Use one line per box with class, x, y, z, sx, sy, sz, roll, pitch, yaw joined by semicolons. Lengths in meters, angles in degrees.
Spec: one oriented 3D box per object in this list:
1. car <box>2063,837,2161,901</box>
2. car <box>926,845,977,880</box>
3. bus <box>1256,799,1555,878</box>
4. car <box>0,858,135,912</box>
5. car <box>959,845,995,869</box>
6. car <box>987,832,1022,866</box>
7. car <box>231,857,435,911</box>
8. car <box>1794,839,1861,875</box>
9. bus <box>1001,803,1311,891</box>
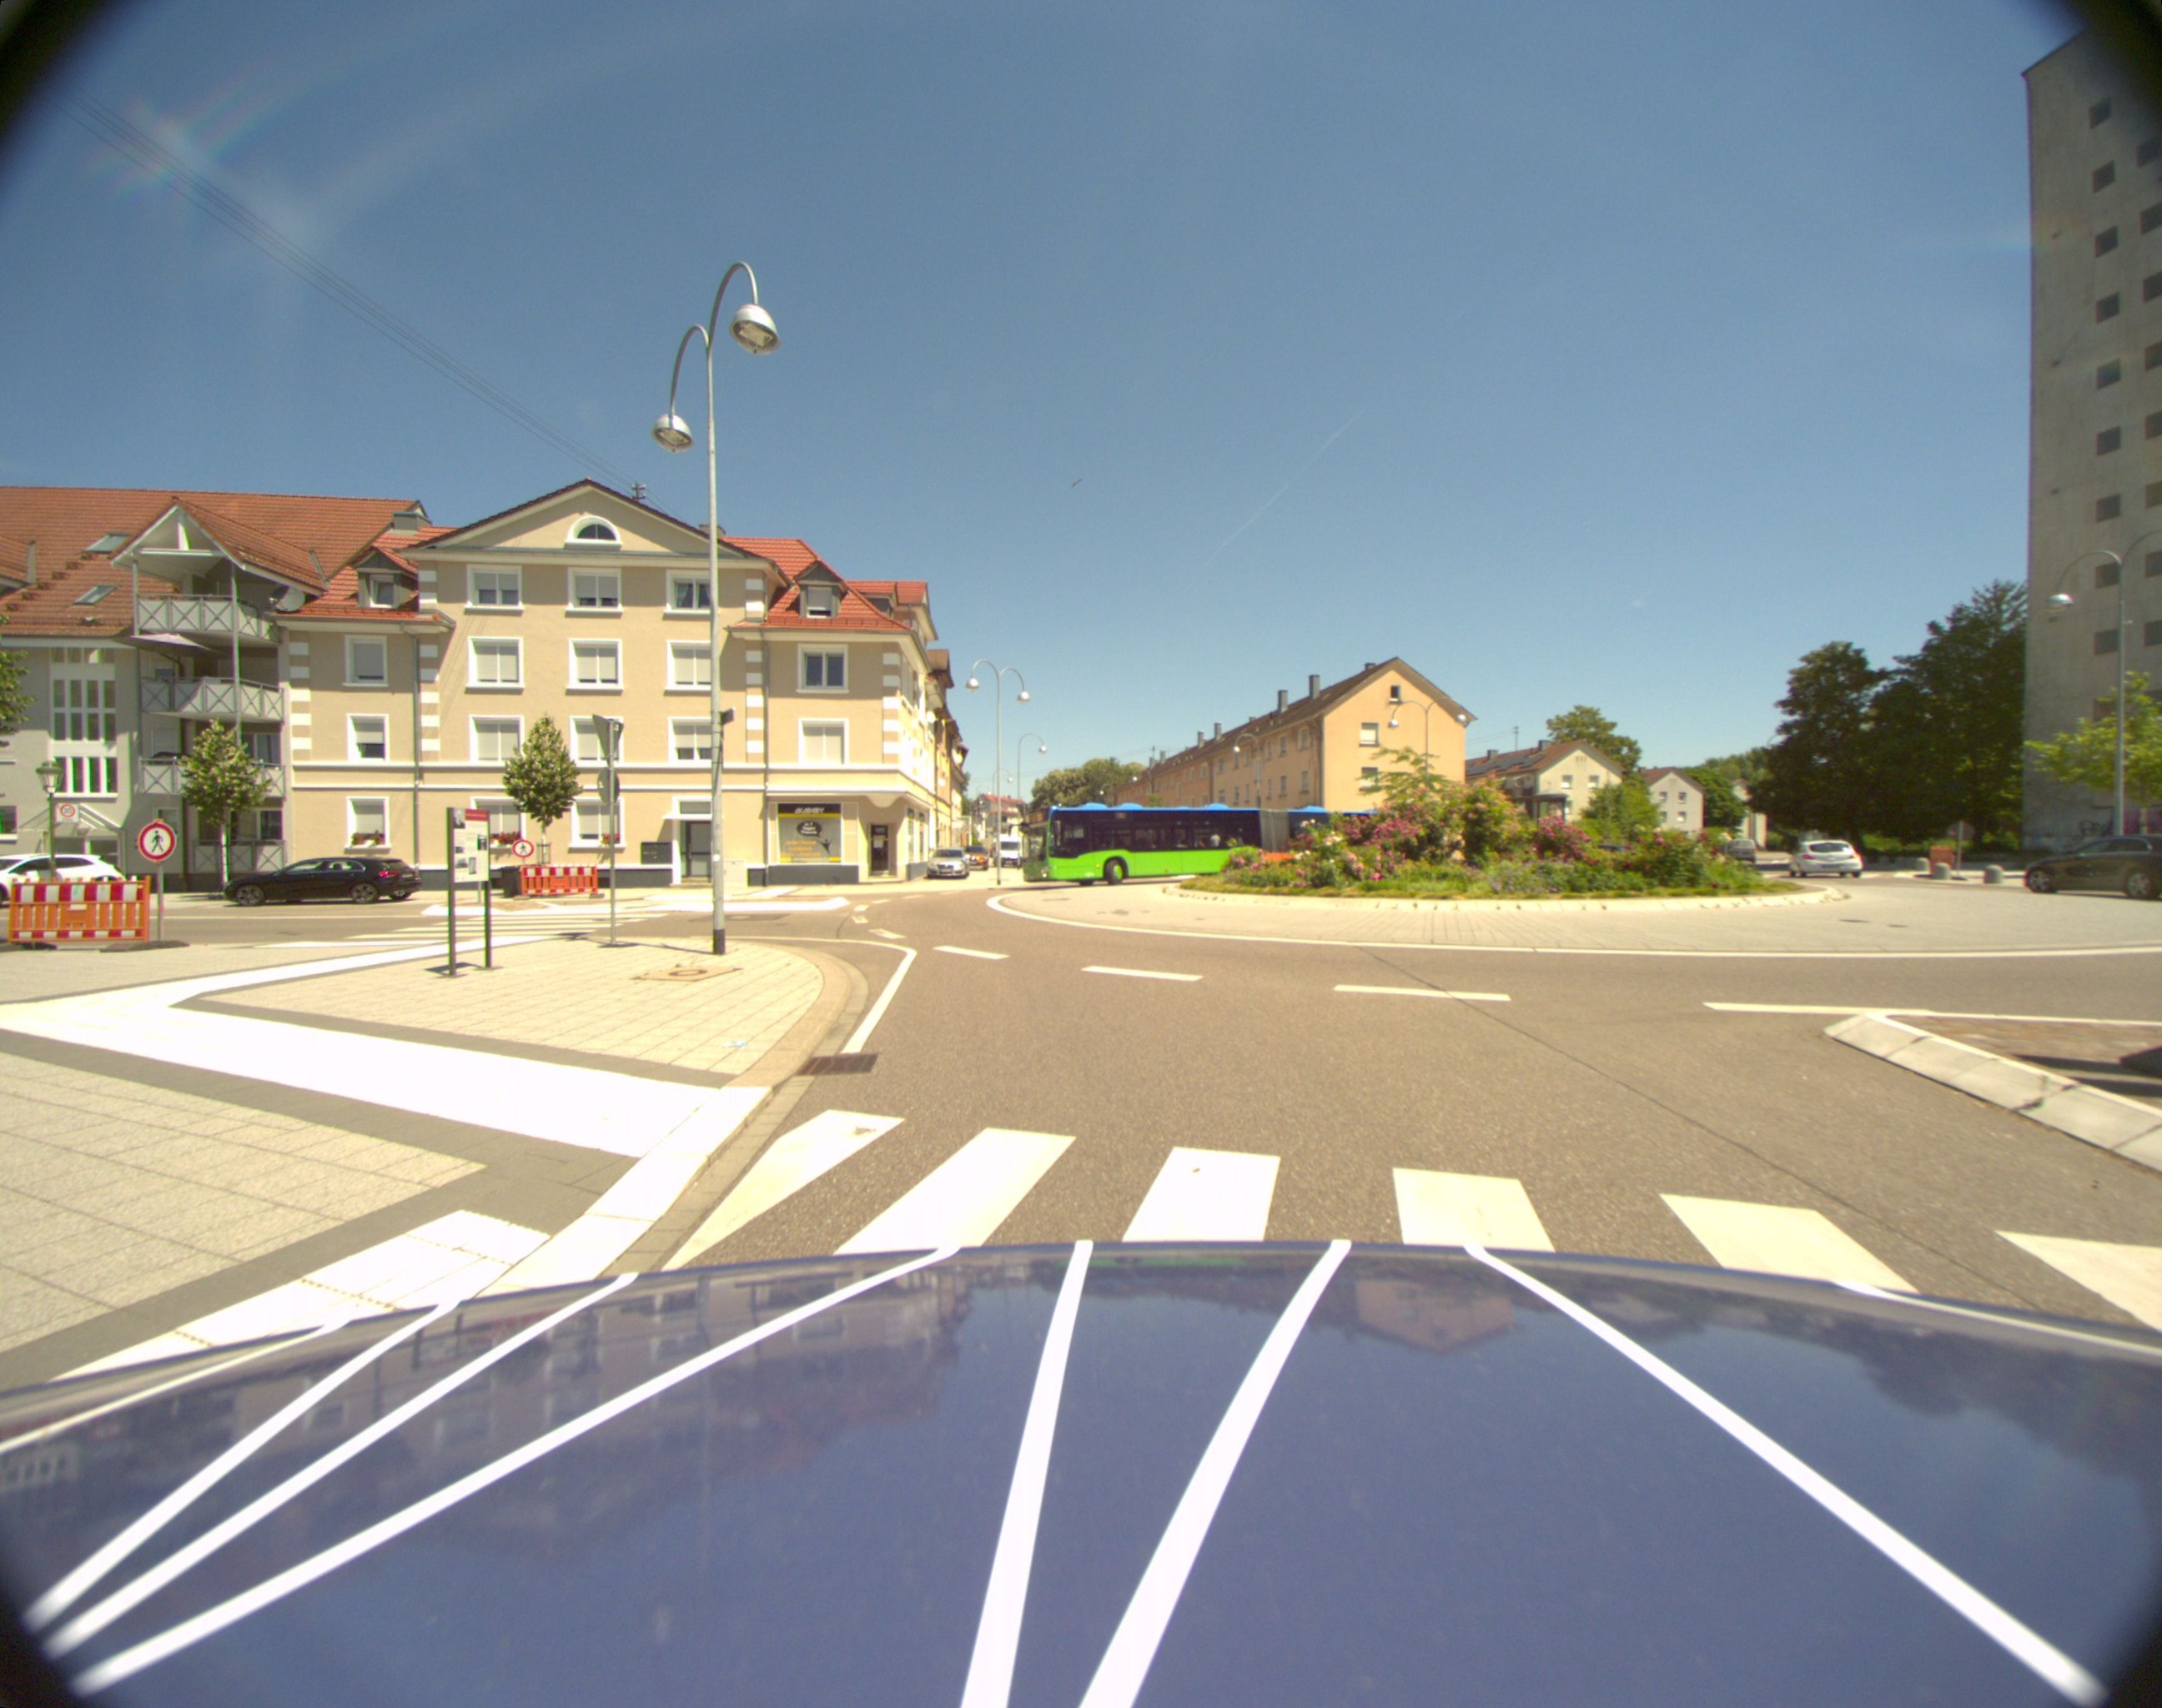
car;23.555;0.291;16.474;1.726;1.288;4.008;2;2;37
car;-6.017;0.356;35.618;1.826;1.403;3.998;2;2;-3
bus;14.430;-0.700;34.025;12.562;3.043;2.929;-2;0;-9
car;-31.541;0.909;22.476;1.809;1.438;4.245;-1;2;-2
car;-6.520;0.167;47.963;1.826;1.402;3.998;2;1;-3
car;-5.769;-0.393;58.109;2.341;2.442;5.732;2;0;-3
car;-22.764;0.864;23.318;4.001;1.438;1.896;-1;2;-13
car;29.913;0.090;30.524;1.780;1.348;4.062;0;1;43
bus;3.289;-0.383;30.424;12.578;3.062;2.907;-2;0;-26
